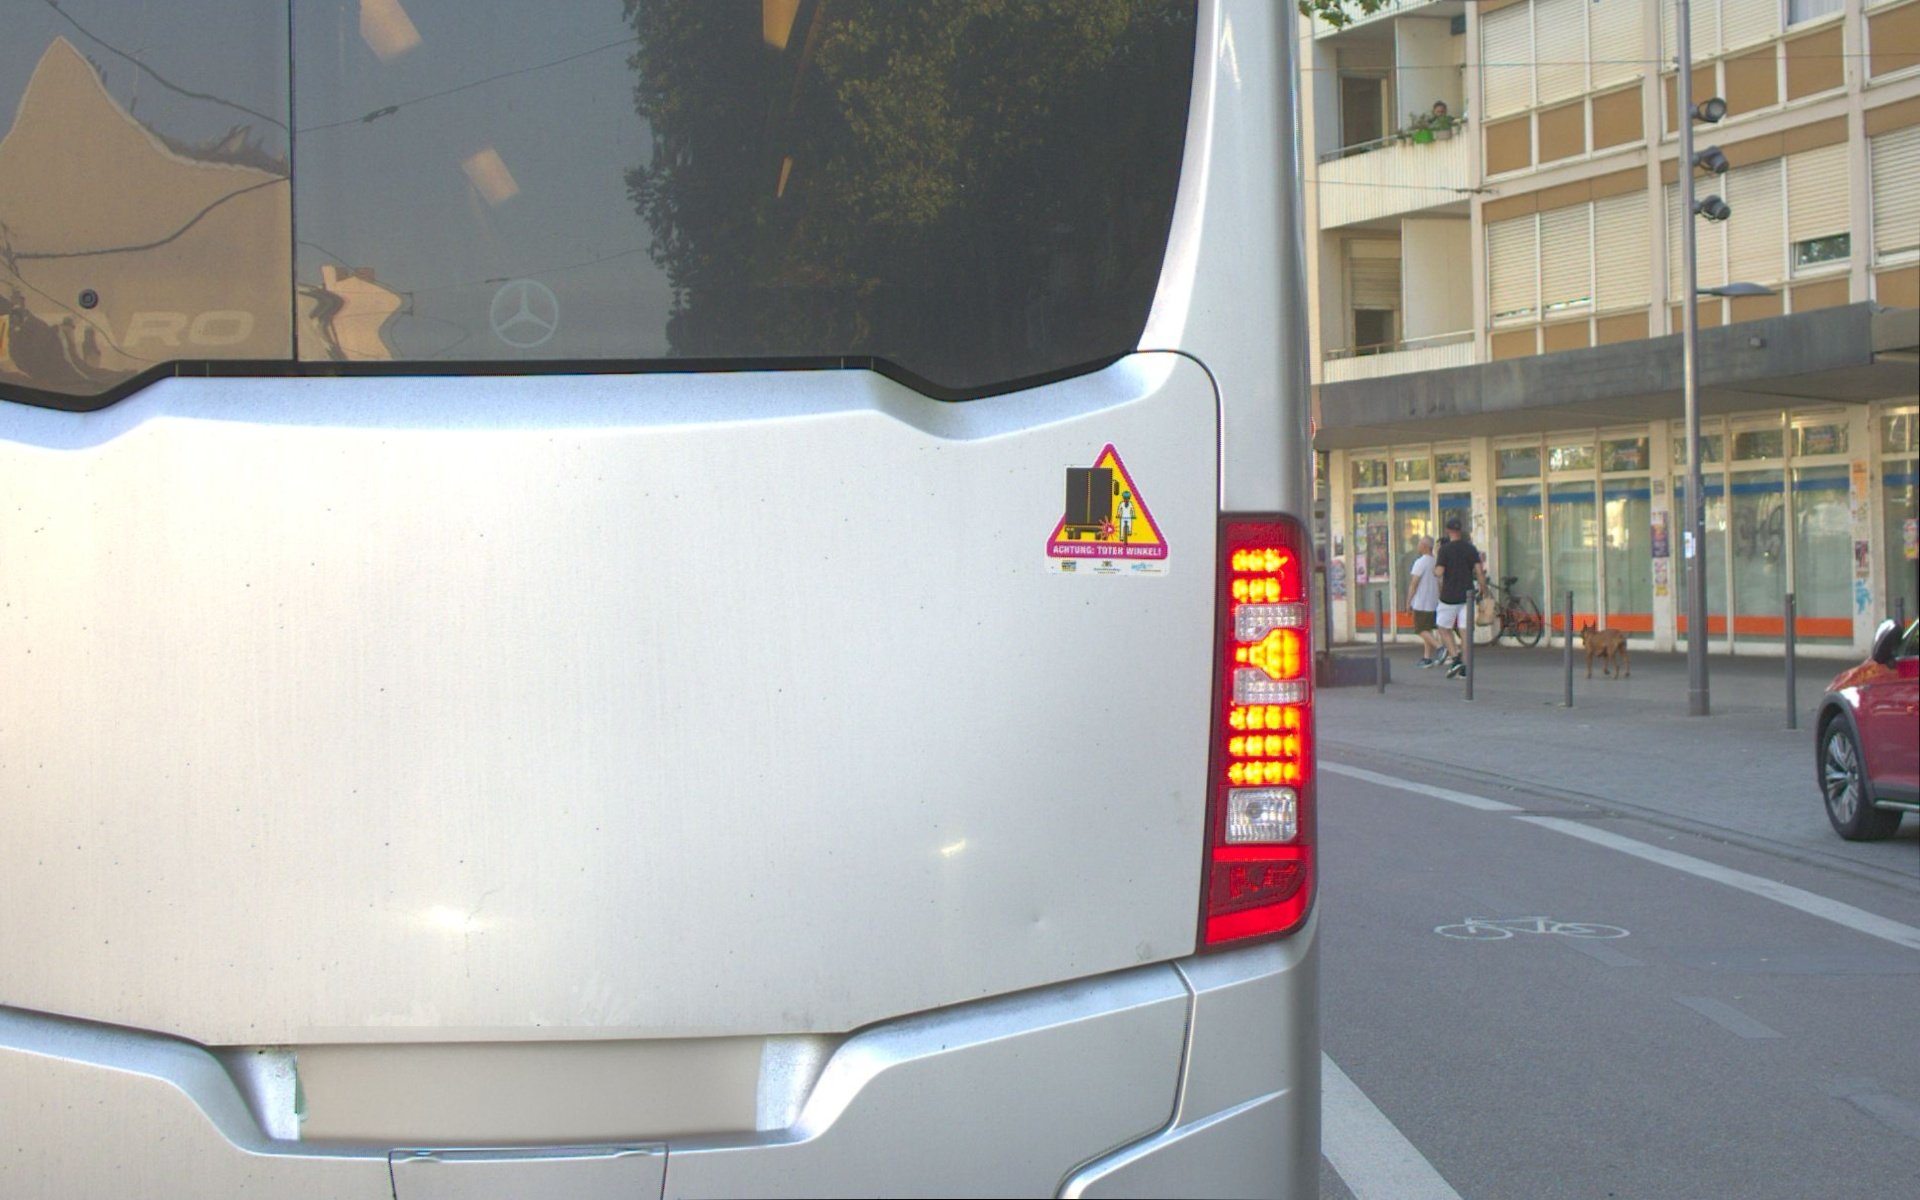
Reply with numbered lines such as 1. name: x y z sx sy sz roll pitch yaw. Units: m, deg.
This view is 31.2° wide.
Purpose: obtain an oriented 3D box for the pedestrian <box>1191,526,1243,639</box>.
1. pedestrian: 3.781 -0.257 50.557 0.535 1.643 0.616 -1 1 -17

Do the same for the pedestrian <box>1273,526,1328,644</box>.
1. pedestrian: 4.782 -0.210 48.347 0.535 1.643 0.616 -1 1 -17

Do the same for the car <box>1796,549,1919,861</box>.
1. car: 5.505 0.485 16.150 1.769 1.477 4.304 -2 1 -4

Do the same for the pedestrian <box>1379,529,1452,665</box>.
1. pedestrian: 5.376 -0.041 40.599 0.645 1.576 0.560 -1 1 -16

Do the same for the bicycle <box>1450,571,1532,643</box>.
1. bicycle: 7.102 0.090 46.006 0.412 0.941 1.441 -1 1 -21

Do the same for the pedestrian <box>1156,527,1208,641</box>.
1. pedestrian: 3.228 -0.237 50.076 0.535 1.643 0.616 -1 1 -17

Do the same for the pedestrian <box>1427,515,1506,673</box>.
1. pedestrian: 5.557 -0.070 37.745 0.645 1.711 0.560 -1 1 -16

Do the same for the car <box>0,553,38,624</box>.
1. car: -25.396 -0.315 87.874 1.994 1.785 3.998 0 0 -41

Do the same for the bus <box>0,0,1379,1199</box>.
1. bus: -0.766 -0.129 10.069 2.630 3.017 9.998 0 1 -1
